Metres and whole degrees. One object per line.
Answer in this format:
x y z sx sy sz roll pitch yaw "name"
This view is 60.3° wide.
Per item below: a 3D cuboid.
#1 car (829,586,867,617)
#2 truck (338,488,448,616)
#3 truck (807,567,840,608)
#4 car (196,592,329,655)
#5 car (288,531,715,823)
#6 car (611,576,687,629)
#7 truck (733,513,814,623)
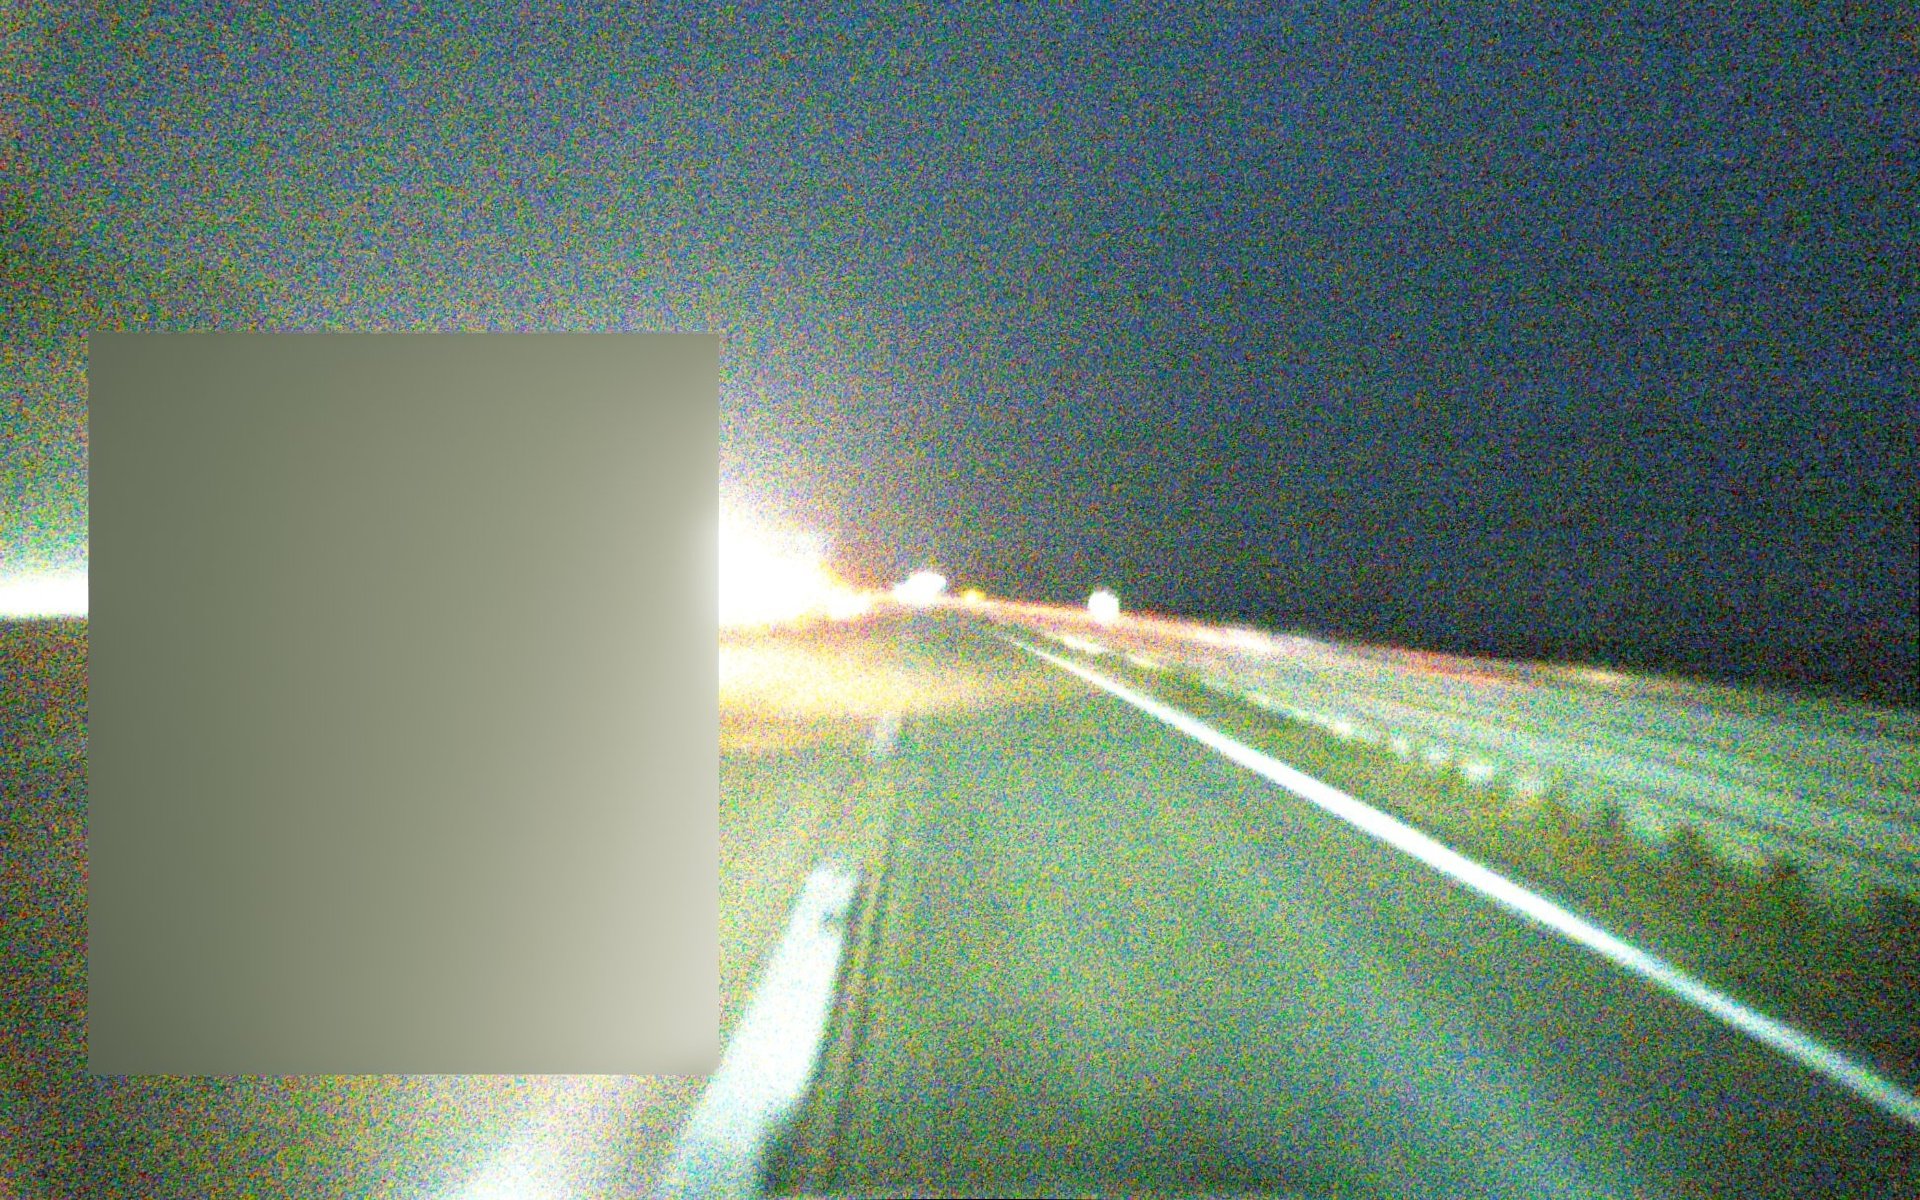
-6.611 0.075 97.070 1.956 1.736 4.189 1 0 -7 "car"
-29.819 -2.431 87.299 3.394 6.233 6.169 5 0 -3 "truck"
-17.755 -1.575 213.969 3.751 5.001 11.588 1 0 -7 "truck"
-19.931 0.646 47.488 1.954 1.624 4.671 3 0 -3 "car"
-3.296 0.494 13.092 1.913 1.823 5.124 1 0 0 "car"
-10.741 0.099 57.376 1.953 1.736 4.194 1 0 -2 "car"
-10.466 -1.666 92.536 4.088 5.641 13.054 1 0 -7 "truck"
